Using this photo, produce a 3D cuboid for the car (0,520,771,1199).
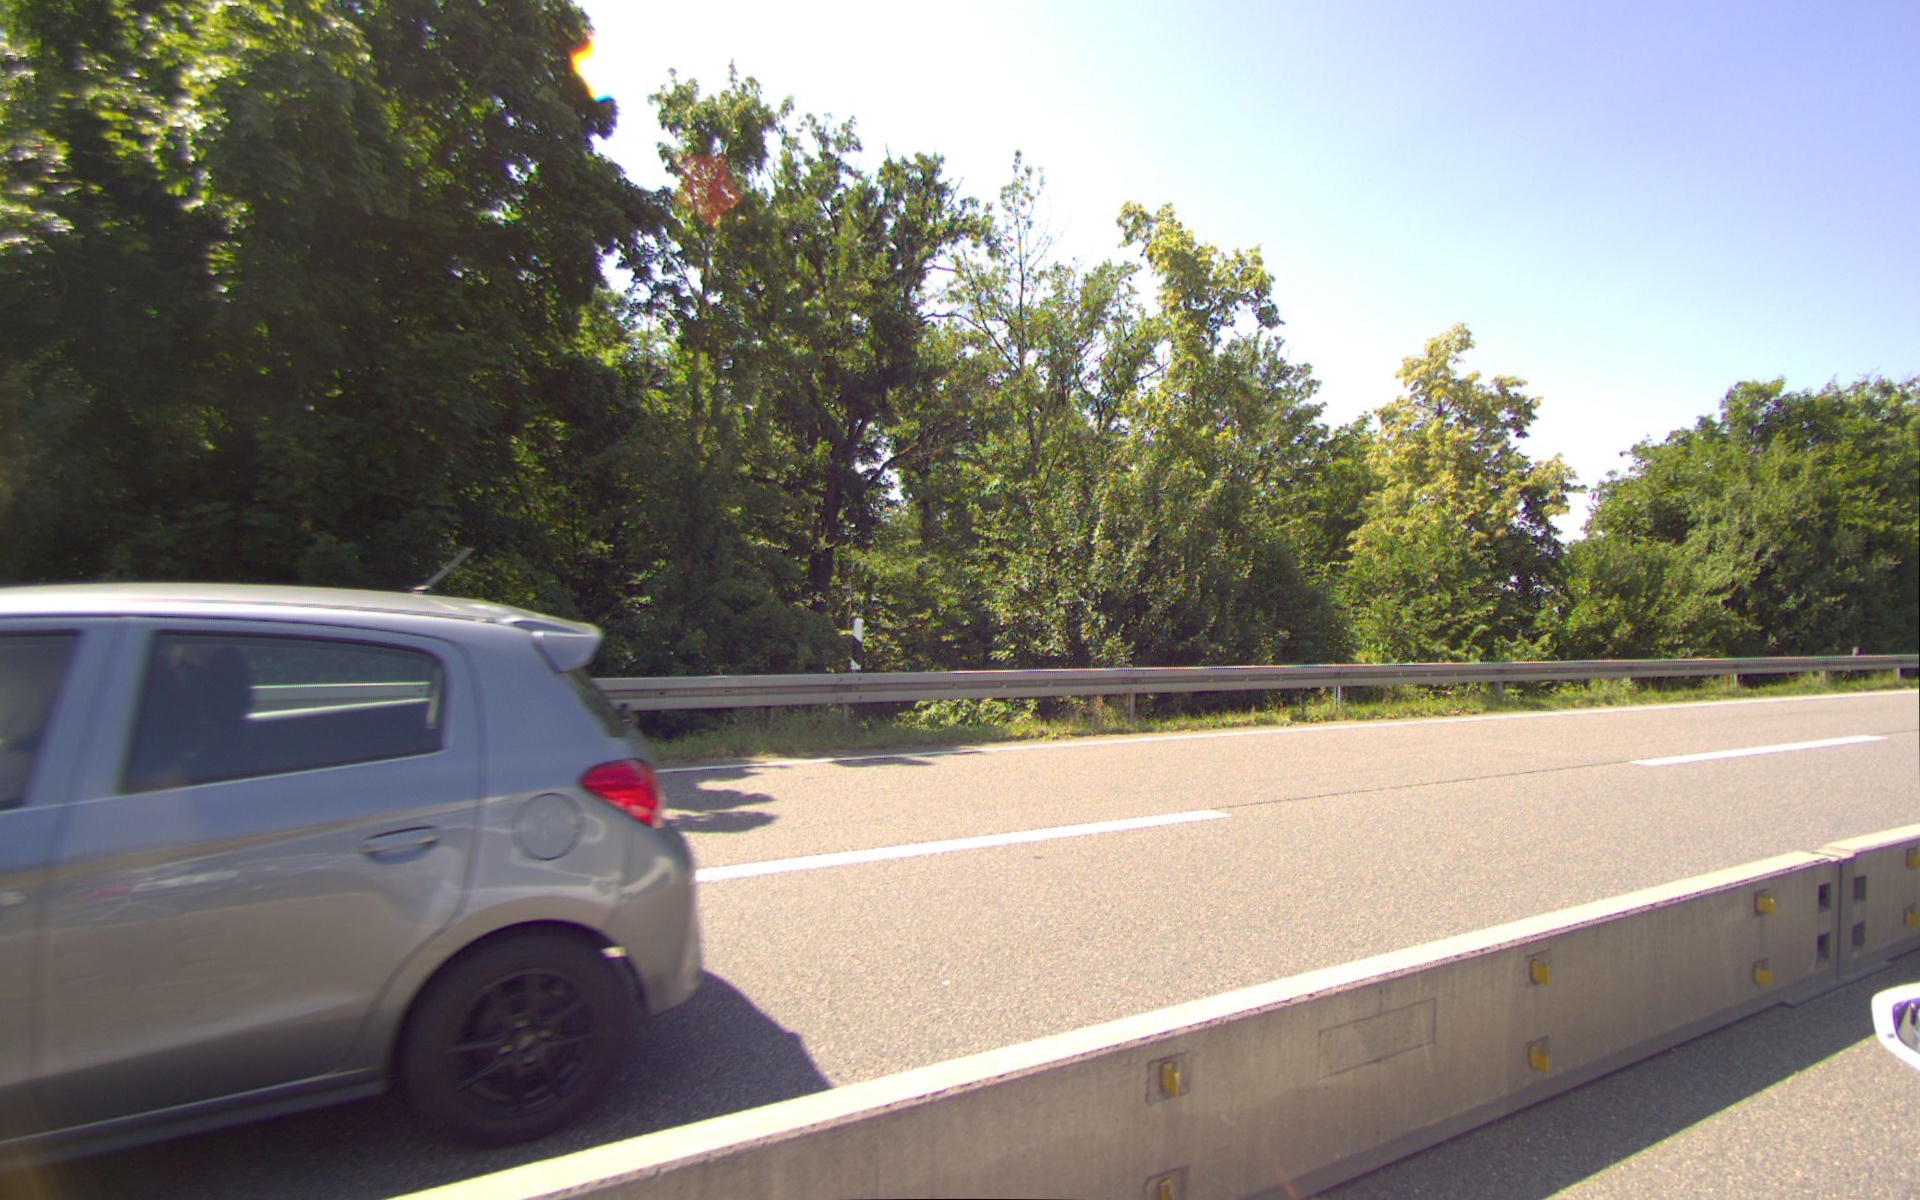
[{"bbox_3d":[-2.940,0.609,2.708,4.382,1.600,1.940,2,0,-30],"label":"car"}]
